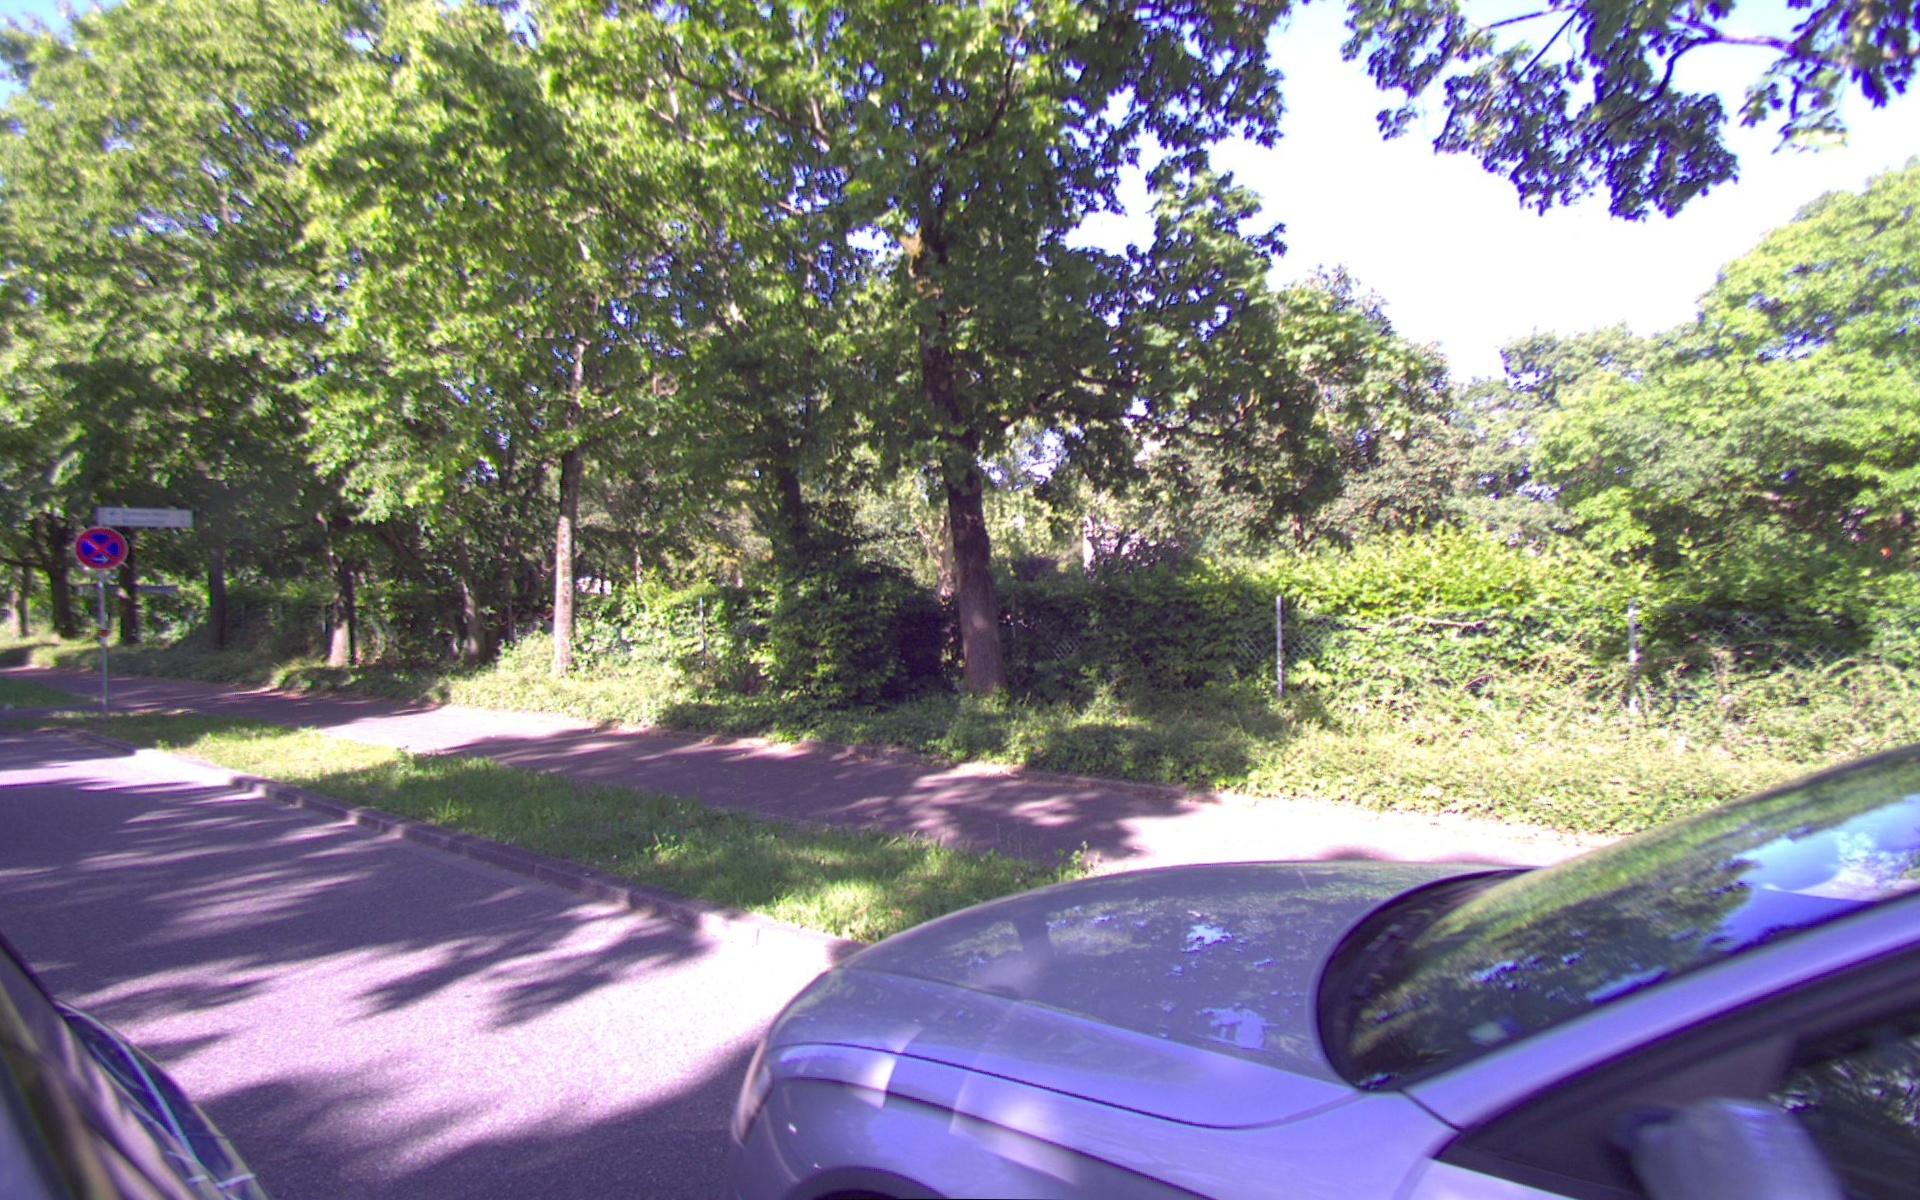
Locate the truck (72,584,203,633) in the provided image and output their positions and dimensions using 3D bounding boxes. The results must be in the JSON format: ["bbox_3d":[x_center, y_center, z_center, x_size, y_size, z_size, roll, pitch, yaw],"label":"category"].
[{"bbox_3d":[-35.618,0.423,43.904,2.199,2.029,3.951,-2,-2,36],"label":"truck"}]

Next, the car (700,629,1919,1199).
[{"bbox_3d":[1.716,0.739,0.978,4.100,1.427,1.769,-2,-3,40],"label":"car"}]
